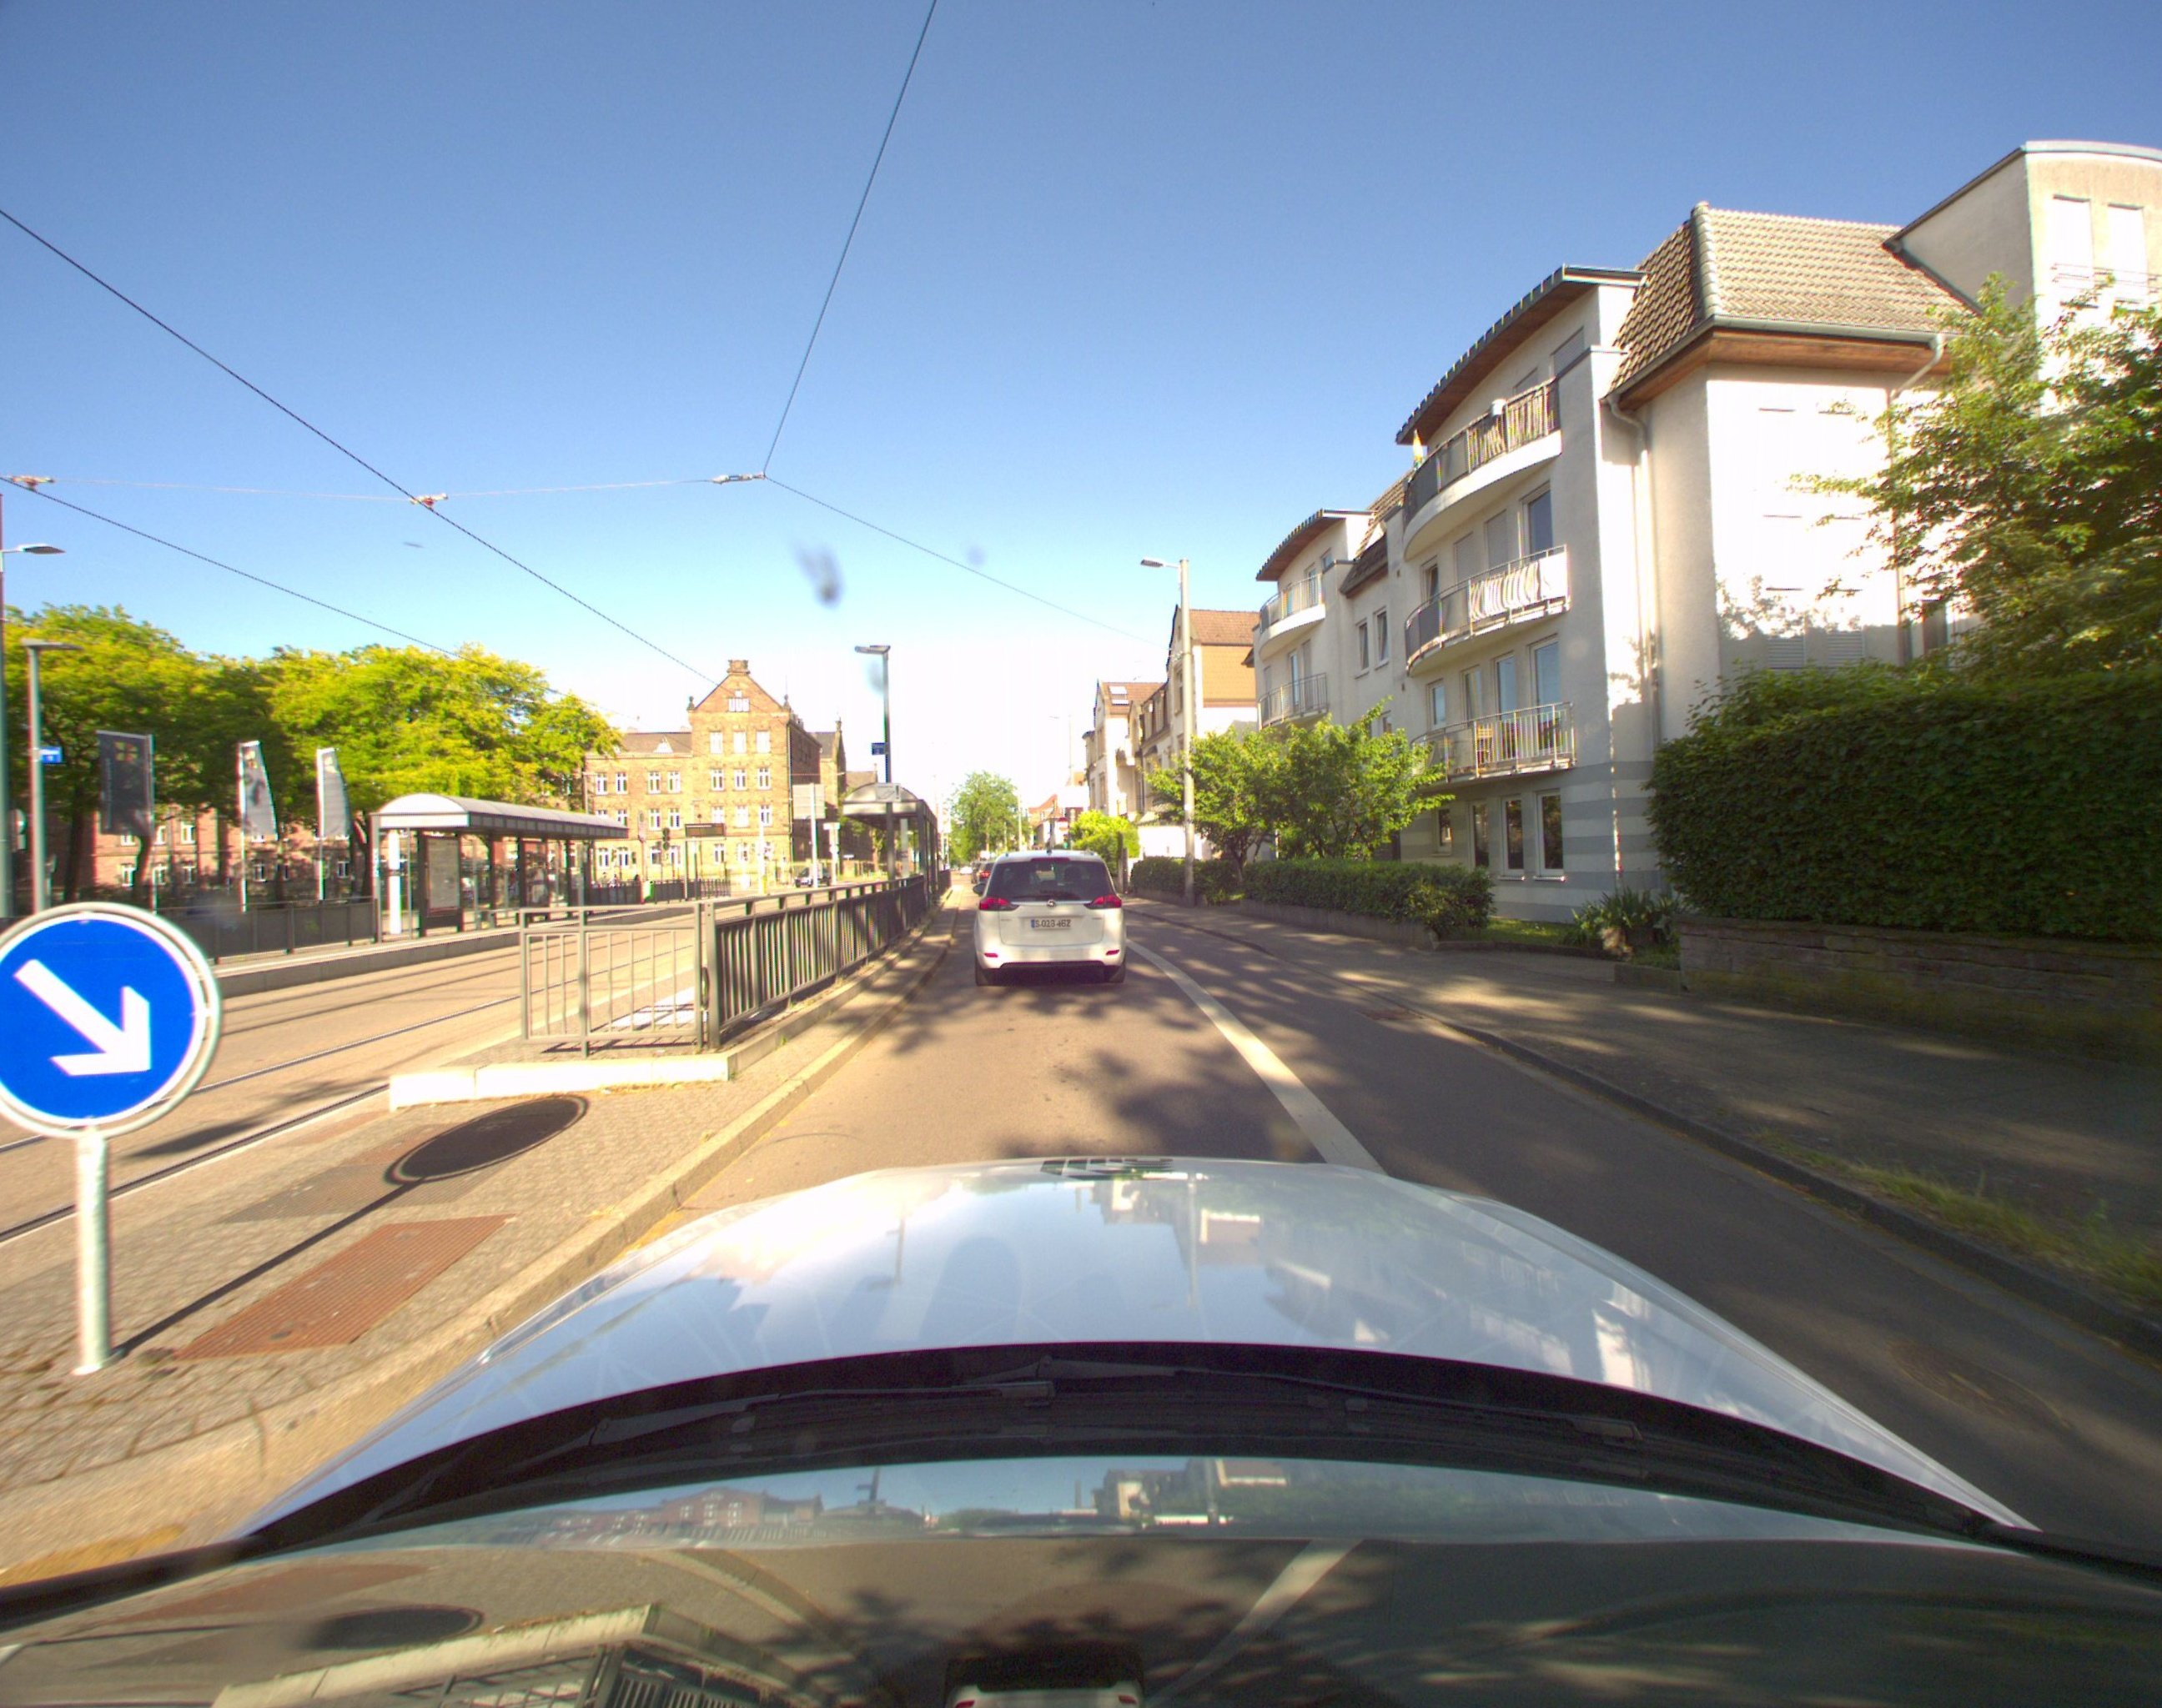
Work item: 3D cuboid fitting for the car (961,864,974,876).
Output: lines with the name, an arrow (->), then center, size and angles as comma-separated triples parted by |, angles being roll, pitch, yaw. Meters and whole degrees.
car -> -16.193, 2.315, 116.353 | 1.774, 1.692, 3.872 | -2, -1, -6

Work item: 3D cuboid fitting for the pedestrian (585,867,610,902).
pedestrian -> -25.965, 1.631, 43.764 | 0.725, 1.861, 1.094 | -1, -1, -6

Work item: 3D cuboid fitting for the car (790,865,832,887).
car -> -21.922, 1.763, 66.278 | 1.900, 1.677, 4.359 | -2, 0, 1

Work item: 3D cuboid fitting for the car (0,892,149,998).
car -> -16.097, 1.386, 11.276 | 1.852, 1.403, 3.976 | -5, 0, -5

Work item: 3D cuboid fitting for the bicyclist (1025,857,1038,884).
bicyclist -> -2.993, 0.989, 49.310 | 0.684, 1.634, 1.013 | -1, -1, -6

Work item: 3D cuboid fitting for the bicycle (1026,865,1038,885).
bicycle -> -2.971, 1.264, 49.204 | 0.684, 1.157, 1.616 | -2, -1, -5

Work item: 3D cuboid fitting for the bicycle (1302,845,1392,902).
bicycle -> 6.516, 0.473, 19.972 | 1.840, 1.203, 0.823 | -5, 0, -9

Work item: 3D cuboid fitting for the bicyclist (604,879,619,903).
bicyclist -> -32.523, 2.558, 56.397 | 0.634, 1.636, 0.799 | -1, -1, -8

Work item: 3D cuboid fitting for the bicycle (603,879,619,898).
bicycle -> -26.867, 1.980, 46.522 | 0.696, 1.049, 1.652 | -1, -1, -34

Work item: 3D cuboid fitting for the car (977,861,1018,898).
car -> -3.977, 1.170, 38.484 | 1.775, 1.632, 3.870 | -1, -1, -8

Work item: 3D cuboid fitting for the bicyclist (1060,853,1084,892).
bicyclist -> -0.360, 0.747, 32.482 | 0.821, 1.501, 0.931 | -1, -1, -9

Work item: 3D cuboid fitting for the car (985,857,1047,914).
car -> -1.895, 0.841, 23.264 | 1.584, 1.420, 3.892 | -2, 0, -6

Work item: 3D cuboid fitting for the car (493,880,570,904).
car -> -39.102, 2.667, 58.048 | 4.059, 1.522, 1.873 | -2, -1, -6

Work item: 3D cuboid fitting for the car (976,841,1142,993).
car -> -0.471, 0.729, 11.073 | 1.833, 1.642, 3.908 | -1, -1, -7

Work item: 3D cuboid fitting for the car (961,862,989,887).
car -> -7.269, 1.400, 56.246 | 1.773, 1.632, 3.872 | -2, -1, -6

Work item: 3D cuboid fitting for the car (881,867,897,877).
car -> -32.021, 3.060, 135.979 | 1.991, 1.596, 3.992 | -2, -1, -5

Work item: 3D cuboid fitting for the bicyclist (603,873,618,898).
bicyclist -> -26.879, 1.783, 46.536 | 0.694, 1.383, 0.528 | -1, -1, -34
